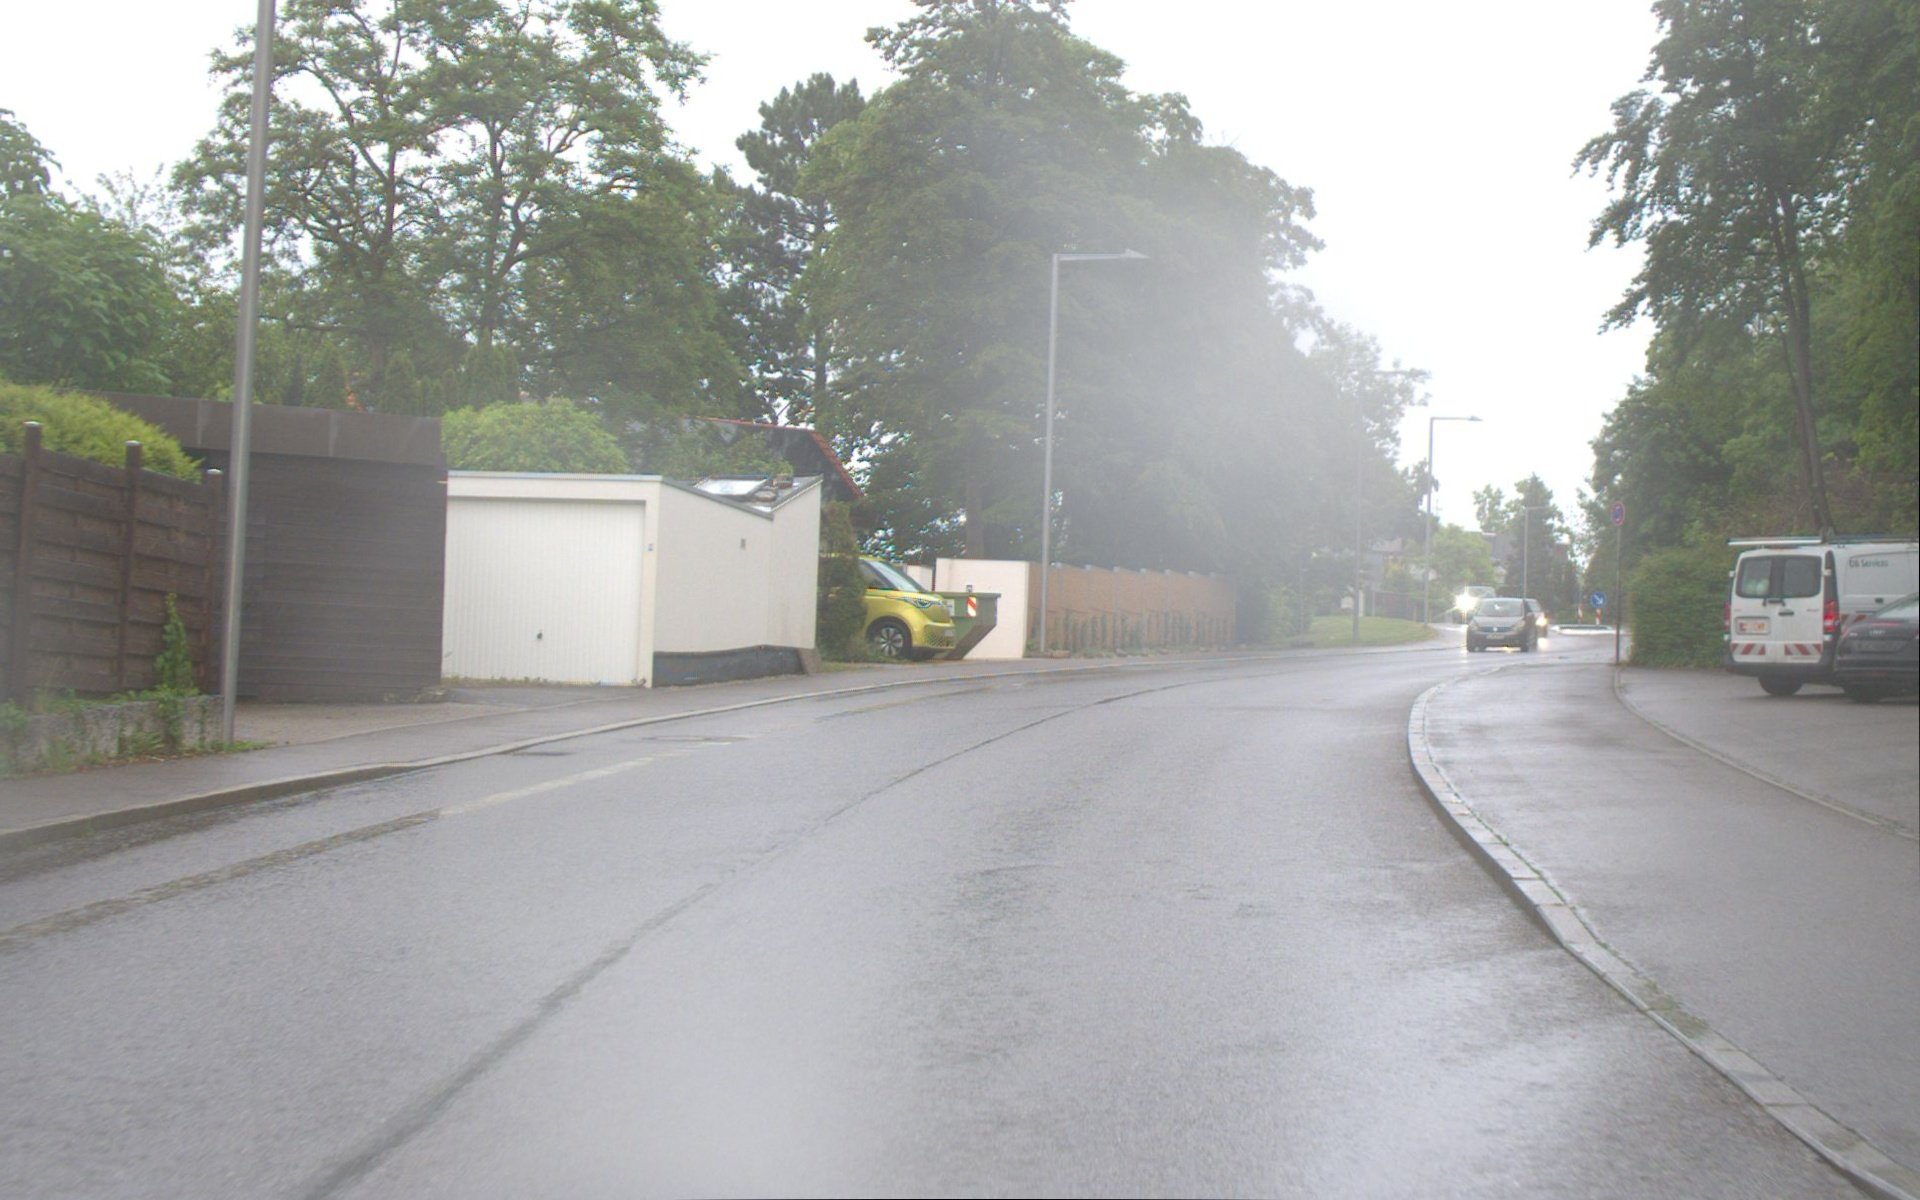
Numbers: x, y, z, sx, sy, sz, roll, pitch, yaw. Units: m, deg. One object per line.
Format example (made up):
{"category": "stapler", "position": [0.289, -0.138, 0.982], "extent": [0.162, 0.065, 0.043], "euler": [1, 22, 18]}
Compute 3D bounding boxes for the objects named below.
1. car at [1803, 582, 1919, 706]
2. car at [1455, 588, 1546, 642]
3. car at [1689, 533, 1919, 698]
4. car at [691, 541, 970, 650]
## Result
{"category": "car", "position": [11.586, 0.469, 39.196], "extent": [3.784, 1.344, 1.762], "euler": [0, 0, -34]}
{"category": "car", "position": [15.841, 0.427, 100.541], "extent": [1.836, 1.506, 4.613], "euler": [1, 0, 19]}
{"category": "car", "position": [11.530, 0.168, 42.539], "extent": [4.827, 1.934, 2.156], "euler": [0, 1, -34]}
{"category": "car", "position": [-2.275, -0.098, 60.941], "extent": [4.506, 1.853, 2.088], "euler": [1, 0, 16]}
